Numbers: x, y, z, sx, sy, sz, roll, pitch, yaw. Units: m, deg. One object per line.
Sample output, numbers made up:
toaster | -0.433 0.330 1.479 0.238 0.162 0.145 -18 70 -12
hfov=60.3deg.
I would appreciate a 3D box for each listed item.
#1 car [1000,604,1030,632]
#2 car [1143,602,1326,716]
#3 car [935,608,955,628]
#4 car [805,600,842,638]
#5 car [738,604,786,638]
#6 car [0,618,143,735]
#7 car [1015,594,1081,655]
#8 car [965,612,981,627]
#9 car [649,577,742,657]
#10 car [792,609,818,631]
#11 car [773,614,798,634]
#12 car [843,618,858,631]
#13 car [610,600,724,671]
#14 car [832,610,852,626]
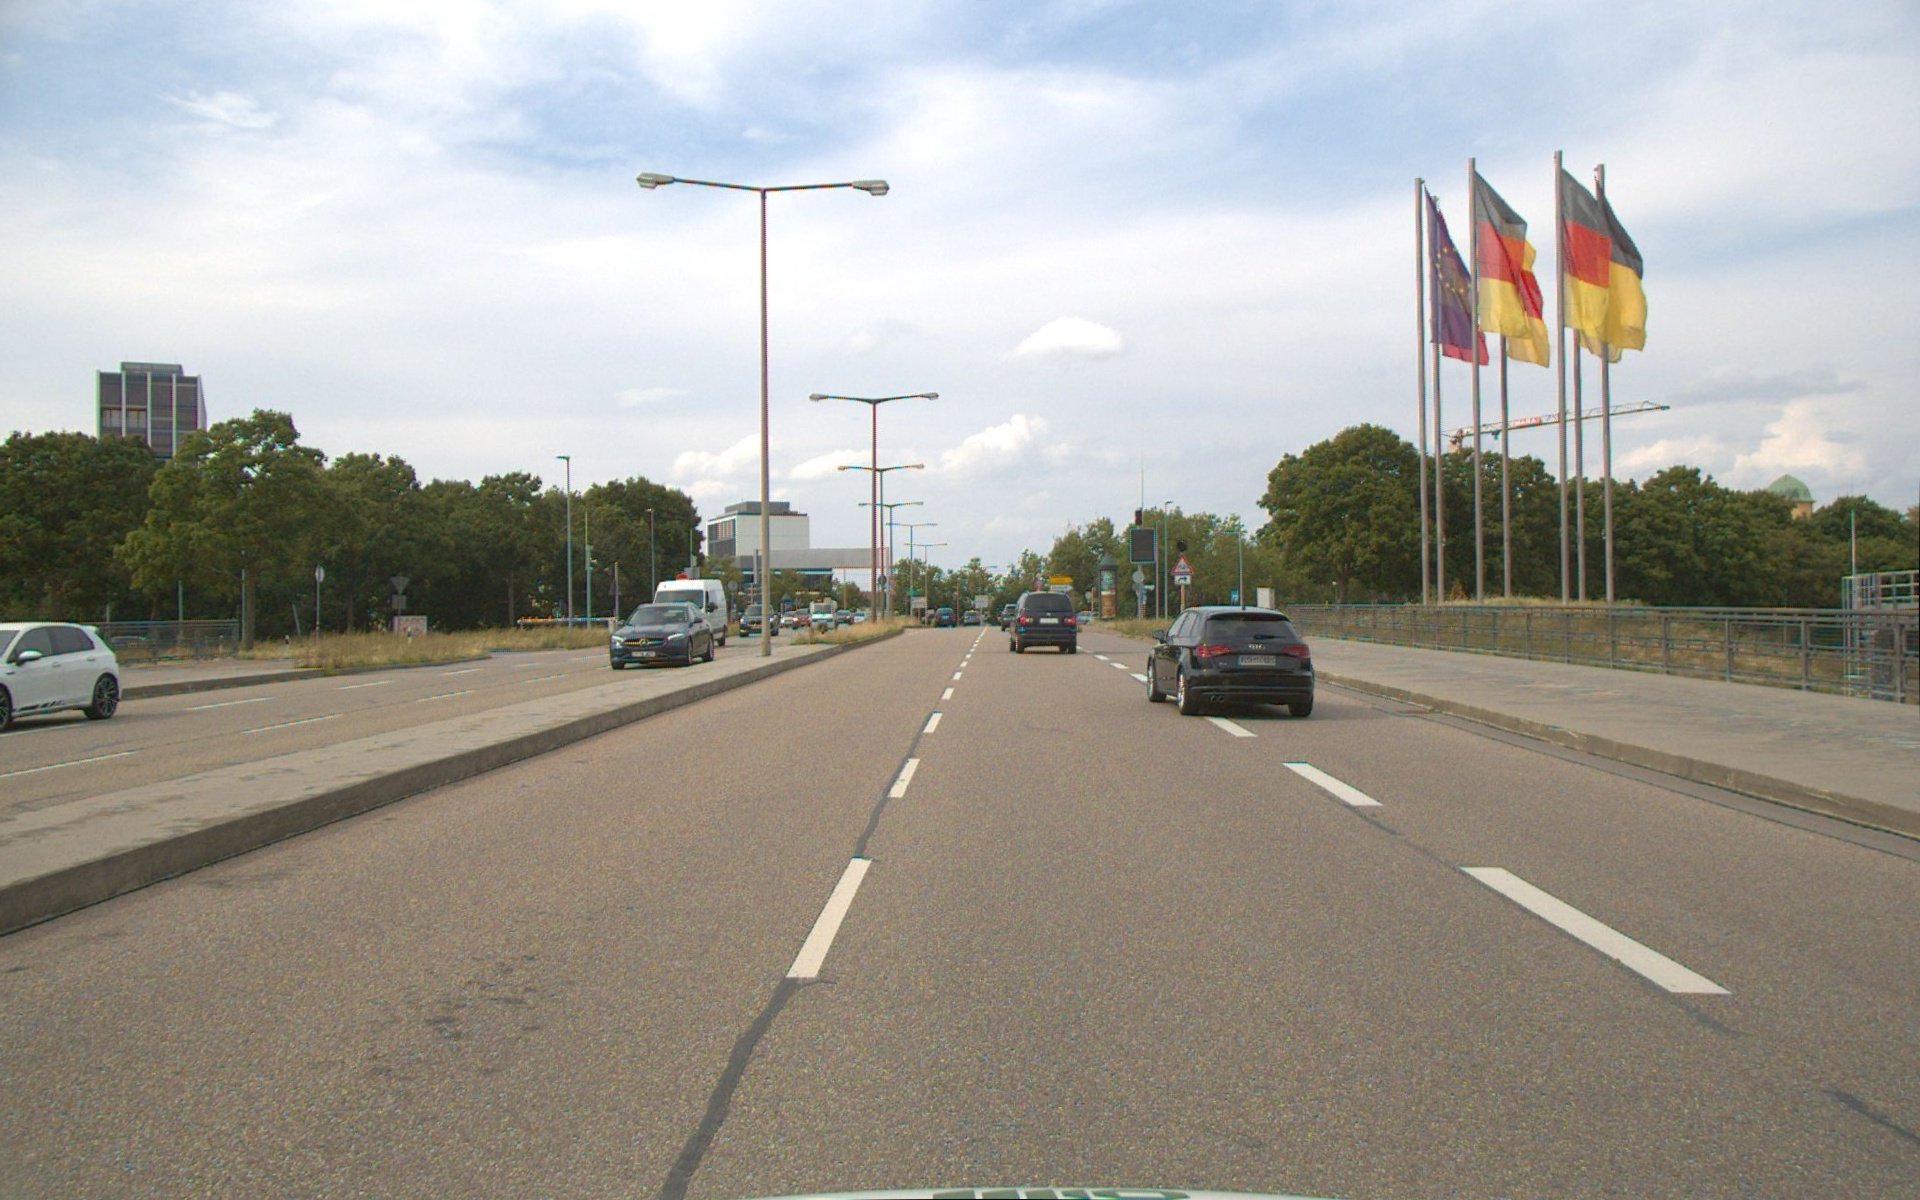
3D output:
car | 3.324 1.096 100.847 1.695 1.682 4.114 0 -1 0
car | 3.667 0.763 22.770 1.696 1.419 4.113 0 -1 -2
car | -1.277 1.568 140.895 1.695 1.682 4.114 0 -1 0
car | -7.300 0.983 88.561 1.508 1.904 3.571 -2 0 2
car | -10.205 1.051 85.456 1.710 1.613 4.587 -2 0 2
car | -13.441 1.056 23.089 1.702 1.506 4.472 -2 0 2
car | 2.505 0.696 47.946 1.695 1.682 4.114 0 -1 0
car | 1.395 2.124 179.257 1.695 1.553 4.114 0 -1 0
car | -9.618 0.574 60.635 2.010 2.689 6.402 -2 0 3
car | -12.091 1.577 128.943 1.618 1.602 4.337 -3 0 -1
car | -15.913 2.173 151.295 1.953 1.780 3.999 -1 0 -2
car | -13.428 2.998 202.953 1.710 1.626 4.563 -1 0 -2
car | -6.790 0.820 38.830 1.702 1.506 4.776 -2 -1 1
car | -11.522 1.730 161.698 1.710 1.501 4.564 -1 0 -1
